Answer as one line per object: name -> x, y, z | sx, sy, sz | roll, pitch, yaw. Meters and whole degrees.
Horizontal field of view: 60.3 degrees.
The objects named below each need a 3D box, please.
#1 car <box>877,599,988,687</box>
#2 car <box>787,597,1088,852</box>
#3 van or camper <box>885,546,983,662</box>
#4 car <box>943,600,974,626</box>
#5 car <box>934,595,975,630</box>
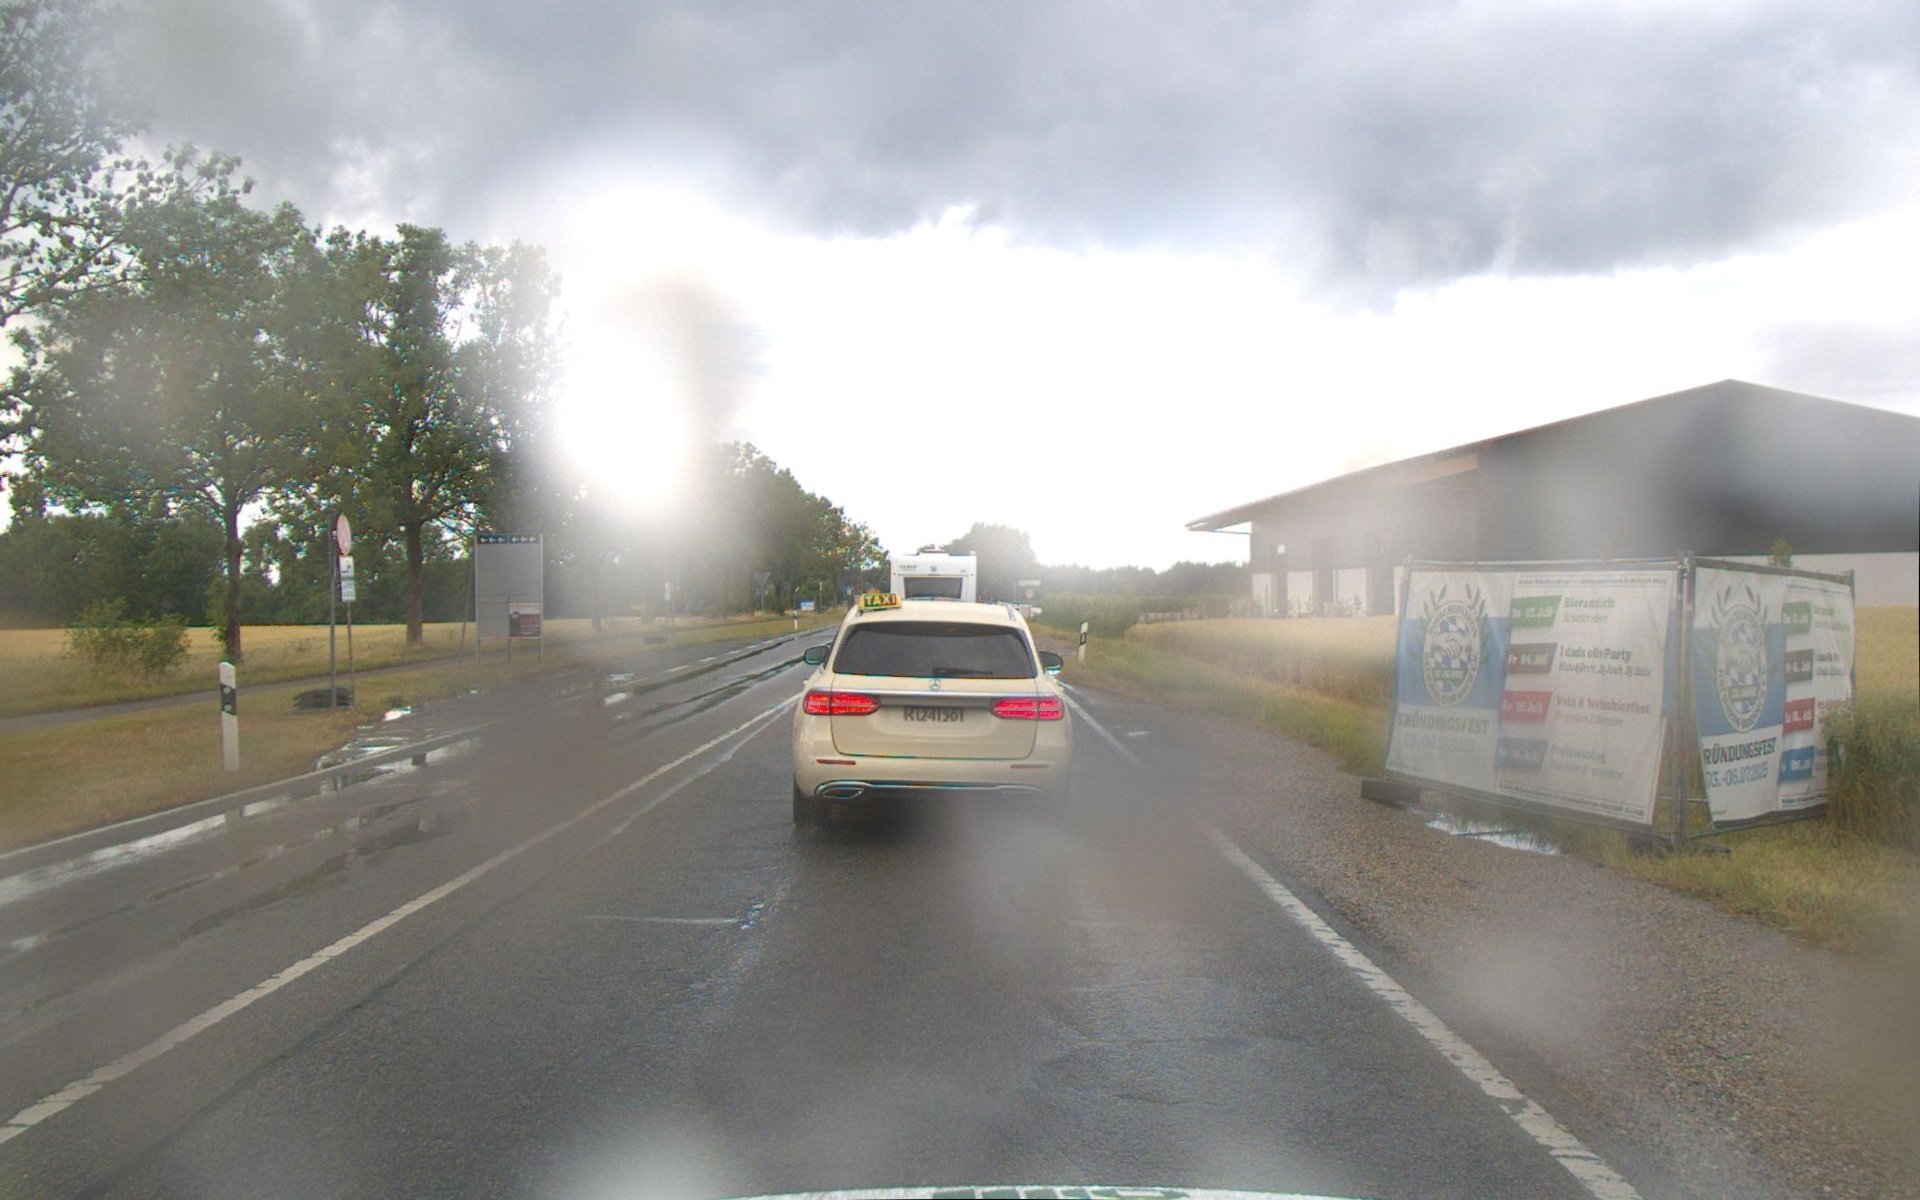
car -> -0.489, 0.720, 29.470 | 1.856, 1.454, 3.927 | 0, 0, -1
car -> -0.132, 0.729, 11.739 | 1.760, 1.490, 4.030 | 0, 0, 0
van or camper -> -0.650, 0.109, 45.327 | 2.446, 2.880, 5.934 | -2, 0, 0
car -> -0.078, 0.820, 105.632 | 1.855, 1.618, 3.928 | 0, 0, 1
car -> -0.273, 0.584, 78.169 | 1.856, 1.618, 3.927 | 0, 0, -1
